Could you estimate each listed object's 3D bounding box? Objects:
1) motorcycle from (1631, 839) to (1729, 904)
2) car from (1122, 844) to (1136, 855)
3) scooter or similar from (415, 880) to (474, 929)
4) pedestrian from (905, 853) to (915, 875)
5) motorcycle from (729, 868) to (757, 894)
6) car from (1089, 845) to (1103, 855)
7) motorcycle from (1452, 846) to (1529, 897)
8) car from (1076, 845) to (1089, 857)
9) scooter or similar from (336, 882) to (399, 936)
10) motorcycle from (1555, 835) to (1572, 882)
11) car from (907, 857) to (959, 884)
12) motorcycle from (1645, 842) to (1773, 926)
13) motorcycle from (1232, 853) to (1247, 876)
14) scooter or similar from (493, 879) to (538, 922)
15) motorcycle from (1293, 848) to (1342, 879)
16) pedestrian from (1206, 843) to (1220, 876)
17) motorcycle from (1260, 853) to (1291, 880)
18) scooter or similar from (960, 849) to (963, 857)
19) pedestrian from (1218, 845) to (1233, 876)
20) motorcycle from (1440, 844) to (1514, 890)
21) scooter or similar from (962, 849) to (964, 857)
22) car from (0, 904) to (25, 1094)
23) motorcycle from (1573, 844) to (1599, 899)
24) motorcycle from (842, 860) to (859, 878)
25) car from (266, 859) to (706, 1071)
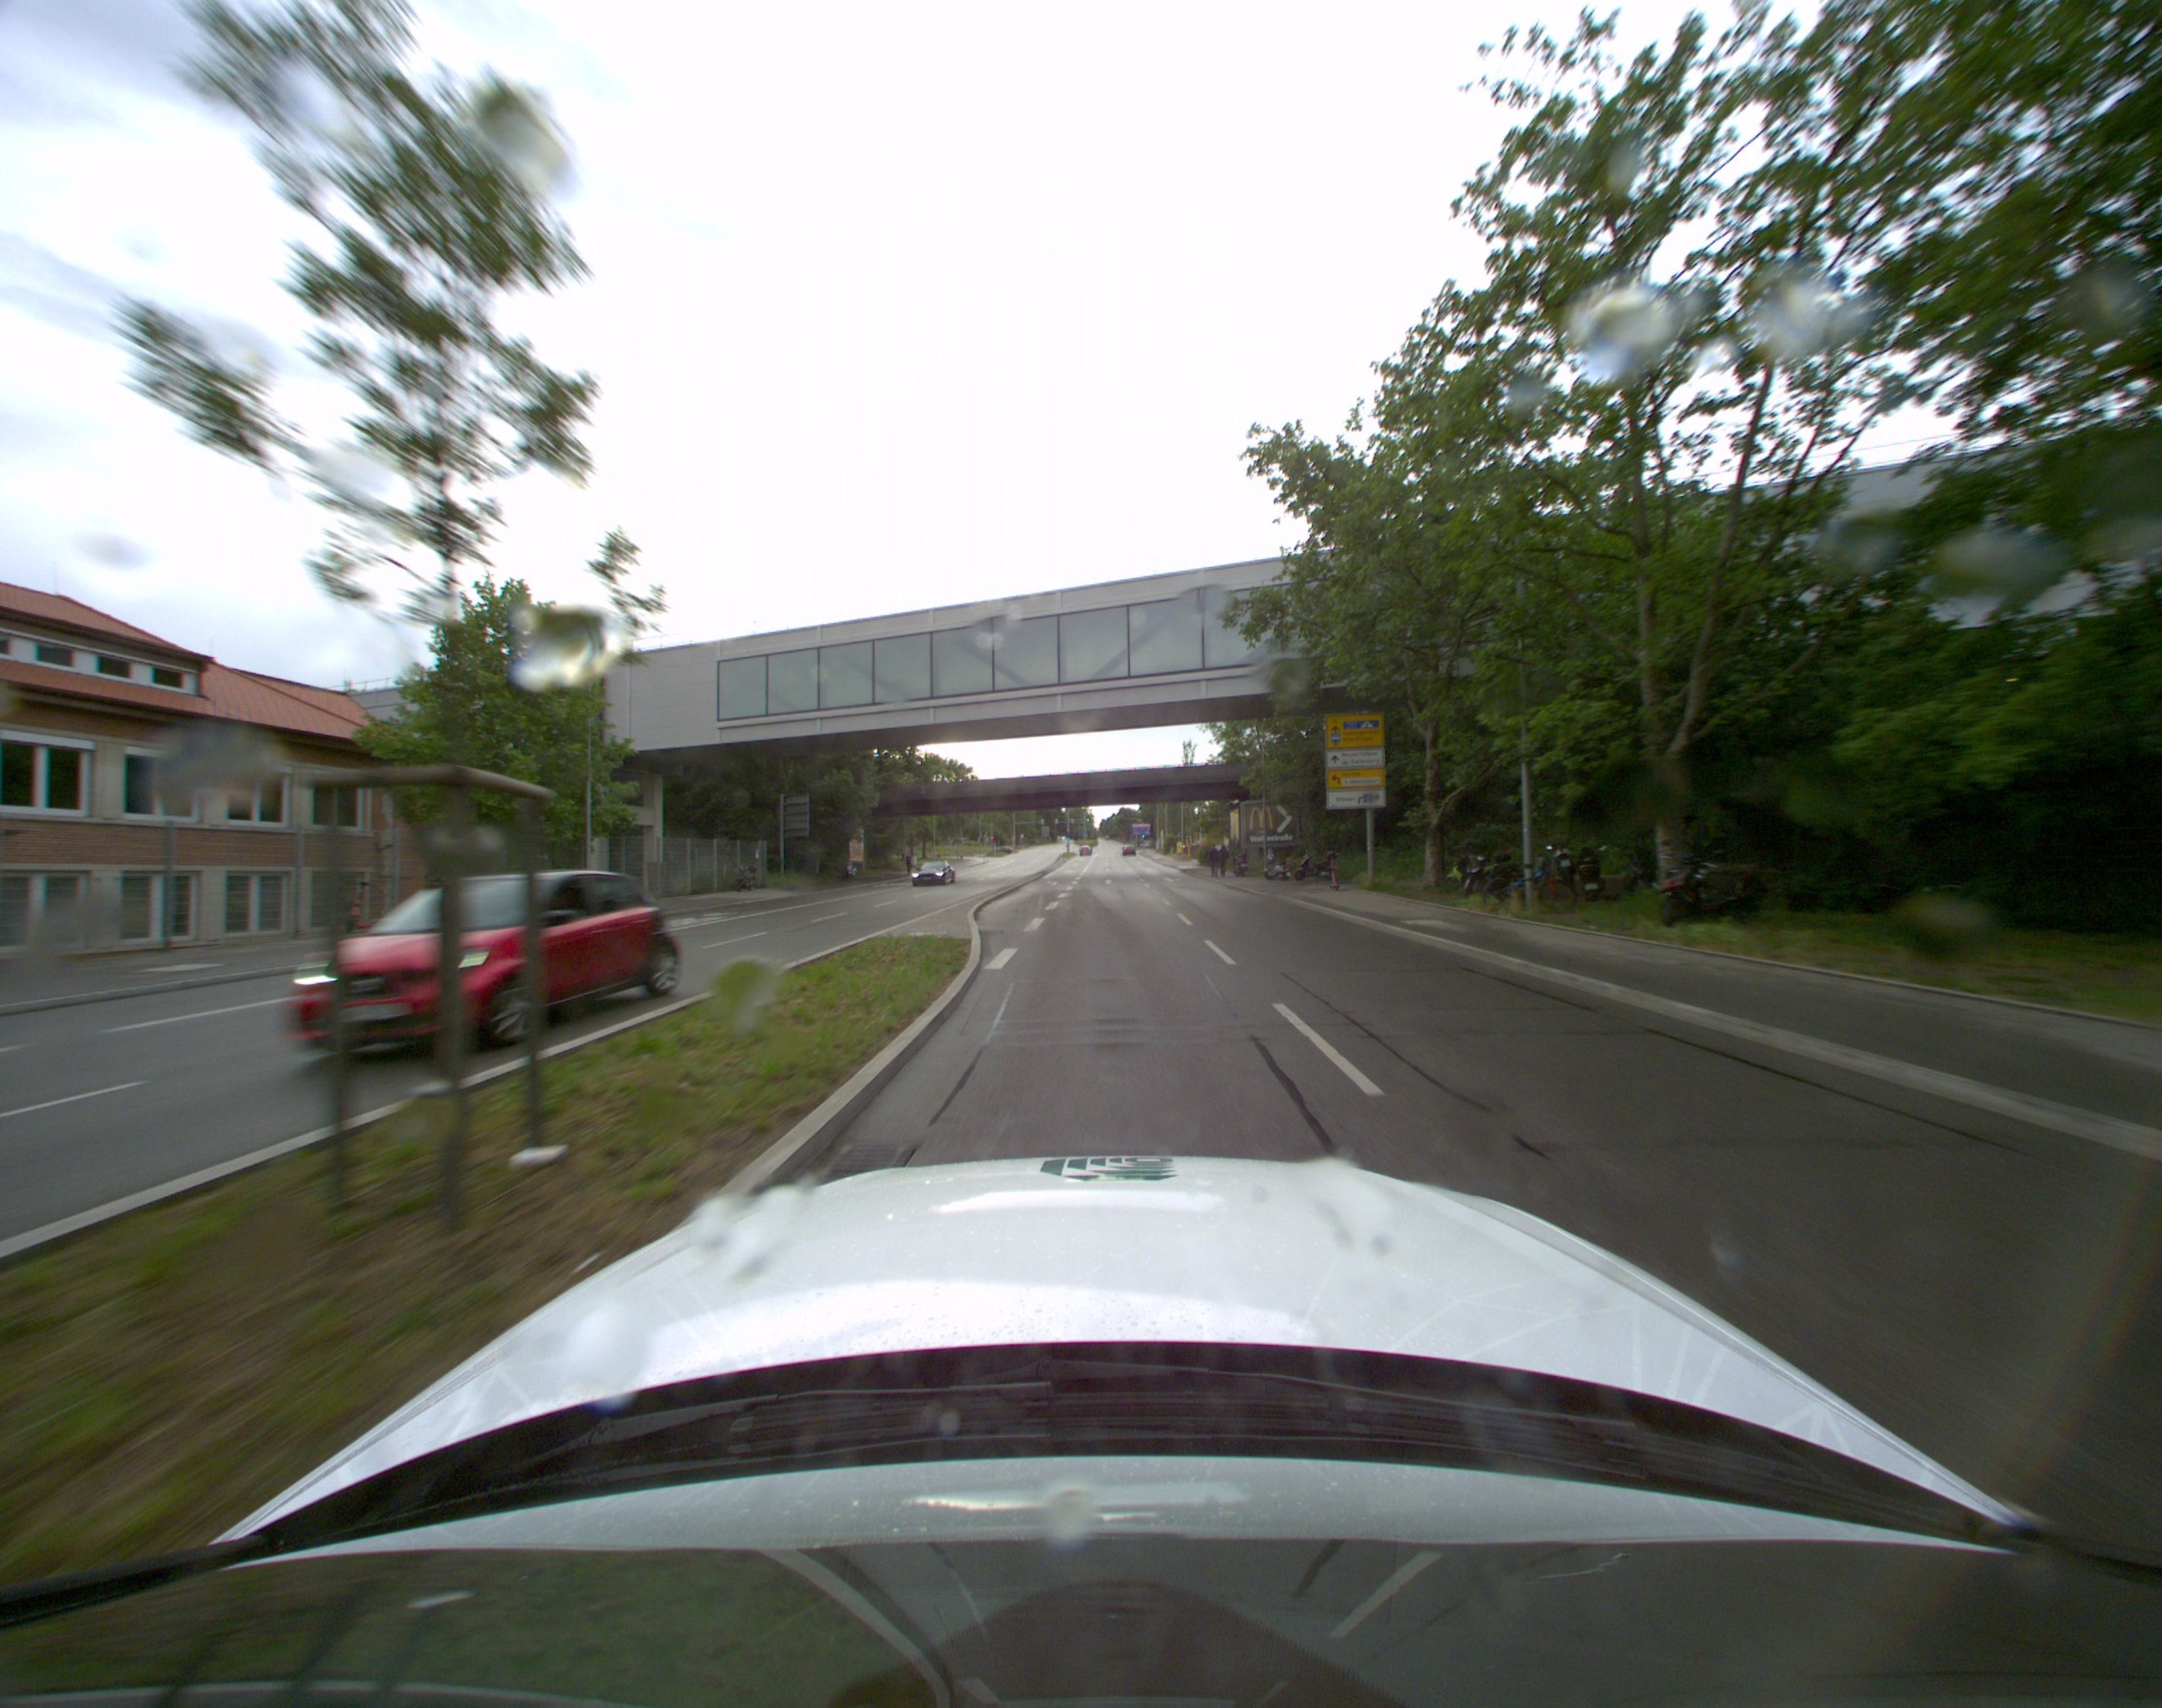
[{"bbox_3d":[12.739,0.353,17.403,0.643,1.279,1.992,-2,0,1],"label":"motorcycle"},{"bbox_3d":[6.972,-0.717,118.573,1.738,1.470,4.167,-1,1,1],"label":"car"},{"bbox_3d":[-17.332,1.356,22.203,0.309,1.218,1.313,-2,0,14],"label":"scooter or similar"},{"bbox_3d":[-14.360,0.822,68.330,0.516,1.816,0.802,-1,0,12],"label":"pedestrian"},{"bbox_3d":[-16.720,1.319,40.339,0.467,1.205,1.997,-2,1,2],"label":"motorcycle"},{"bbox_3d":[2.554,-0.680,142.996,2.161,1.582,4.659,0,-1,-3],"label":"car"},{"bbox_3d":[10.862,0.447,21.602,1.851,1.253,0.627,-2,0,-14],"label":"motorcycle"},{"bbox_3d":[0.217,-0.443,127.936,2.070,1.718,4.197,0,-1,0],"label":"car"},{"bbox_3d":[-17.415,1.332,19.907,0.310,1.218,1.308,-2,0,2],"label":"scooter or similar"},{"bbox_3d":[13.898,0.104,23.457,0.345,1.279,2.084,-2,0,30],"label":"motorcycle"},{"bbox_3d":[-8.570,0.928,47.489,2.057,1.361,4.757,-2,0,0],"label":"car"},{"bbox_3d":[9.717,0.445,12.596,1.851,1.191,0.519,-2,0,-14],"label":"motorcycle"},{"bbox_3d":[8.134,0.544,41.846,0.468,1.136,1.819,-2,0,1],"label":"motorcycle"},{"bbox_3d":[-17.229,1.406,24.828,0.310,1.218,1.310,-2,0,7],"label":"scooter or similar"},{"bbox_3d":[10.345,0.416,35.658,1.919,1.297,0.551,-2,0,36],"label":"motorcycle"},{"bbox_3d":[6.937,0.275,42.845,0.607,1.721,0.895,-2,0,12],"label":"pedestrian"},{"bbox_3d":[8.958,0.570,37.544,0.470,1.213,1.933,-2,0,-17],"label":"motorcycle"},{"bbox_3d":[-18.523,-0.127,126.614,0.311,1.218,1.302,-1,1,-12],"label":"scooter or similar"},{"bbox_3d":[7.562,0.332,42.605,0.646,1.596,0.581,-2,0,13],"label":"pedestrian"},{"bbox_3d":[11.304,0.359,23.303,0.632,1.253,1.835,-2,0,-33],"label":"motorcycle"},{"bbox_3d":[-18.578,-0.171,128.309,0.311,1.218,1.302,-1,1,-12],"label":"scooter or similar"},{"bbox_3d":[-9.149,1.148,4.468,1.709,1.437,3.772,-3,0,1],"label":"car"},{"bbox_3d":[12.632,0.411,20.359,0.515,1.279,1.866,-2,0,32],"label":"motorcycle"},{"bbox_3d":[-16.268,1.067,57.506,0.466,1.158,1.935,-2,1,5],"label":"motorcycle"},{"bbox_3d":[-5.660,0.904,8.453,1.579,1.605,3.857,-3,0,2],"label":"car"}]
